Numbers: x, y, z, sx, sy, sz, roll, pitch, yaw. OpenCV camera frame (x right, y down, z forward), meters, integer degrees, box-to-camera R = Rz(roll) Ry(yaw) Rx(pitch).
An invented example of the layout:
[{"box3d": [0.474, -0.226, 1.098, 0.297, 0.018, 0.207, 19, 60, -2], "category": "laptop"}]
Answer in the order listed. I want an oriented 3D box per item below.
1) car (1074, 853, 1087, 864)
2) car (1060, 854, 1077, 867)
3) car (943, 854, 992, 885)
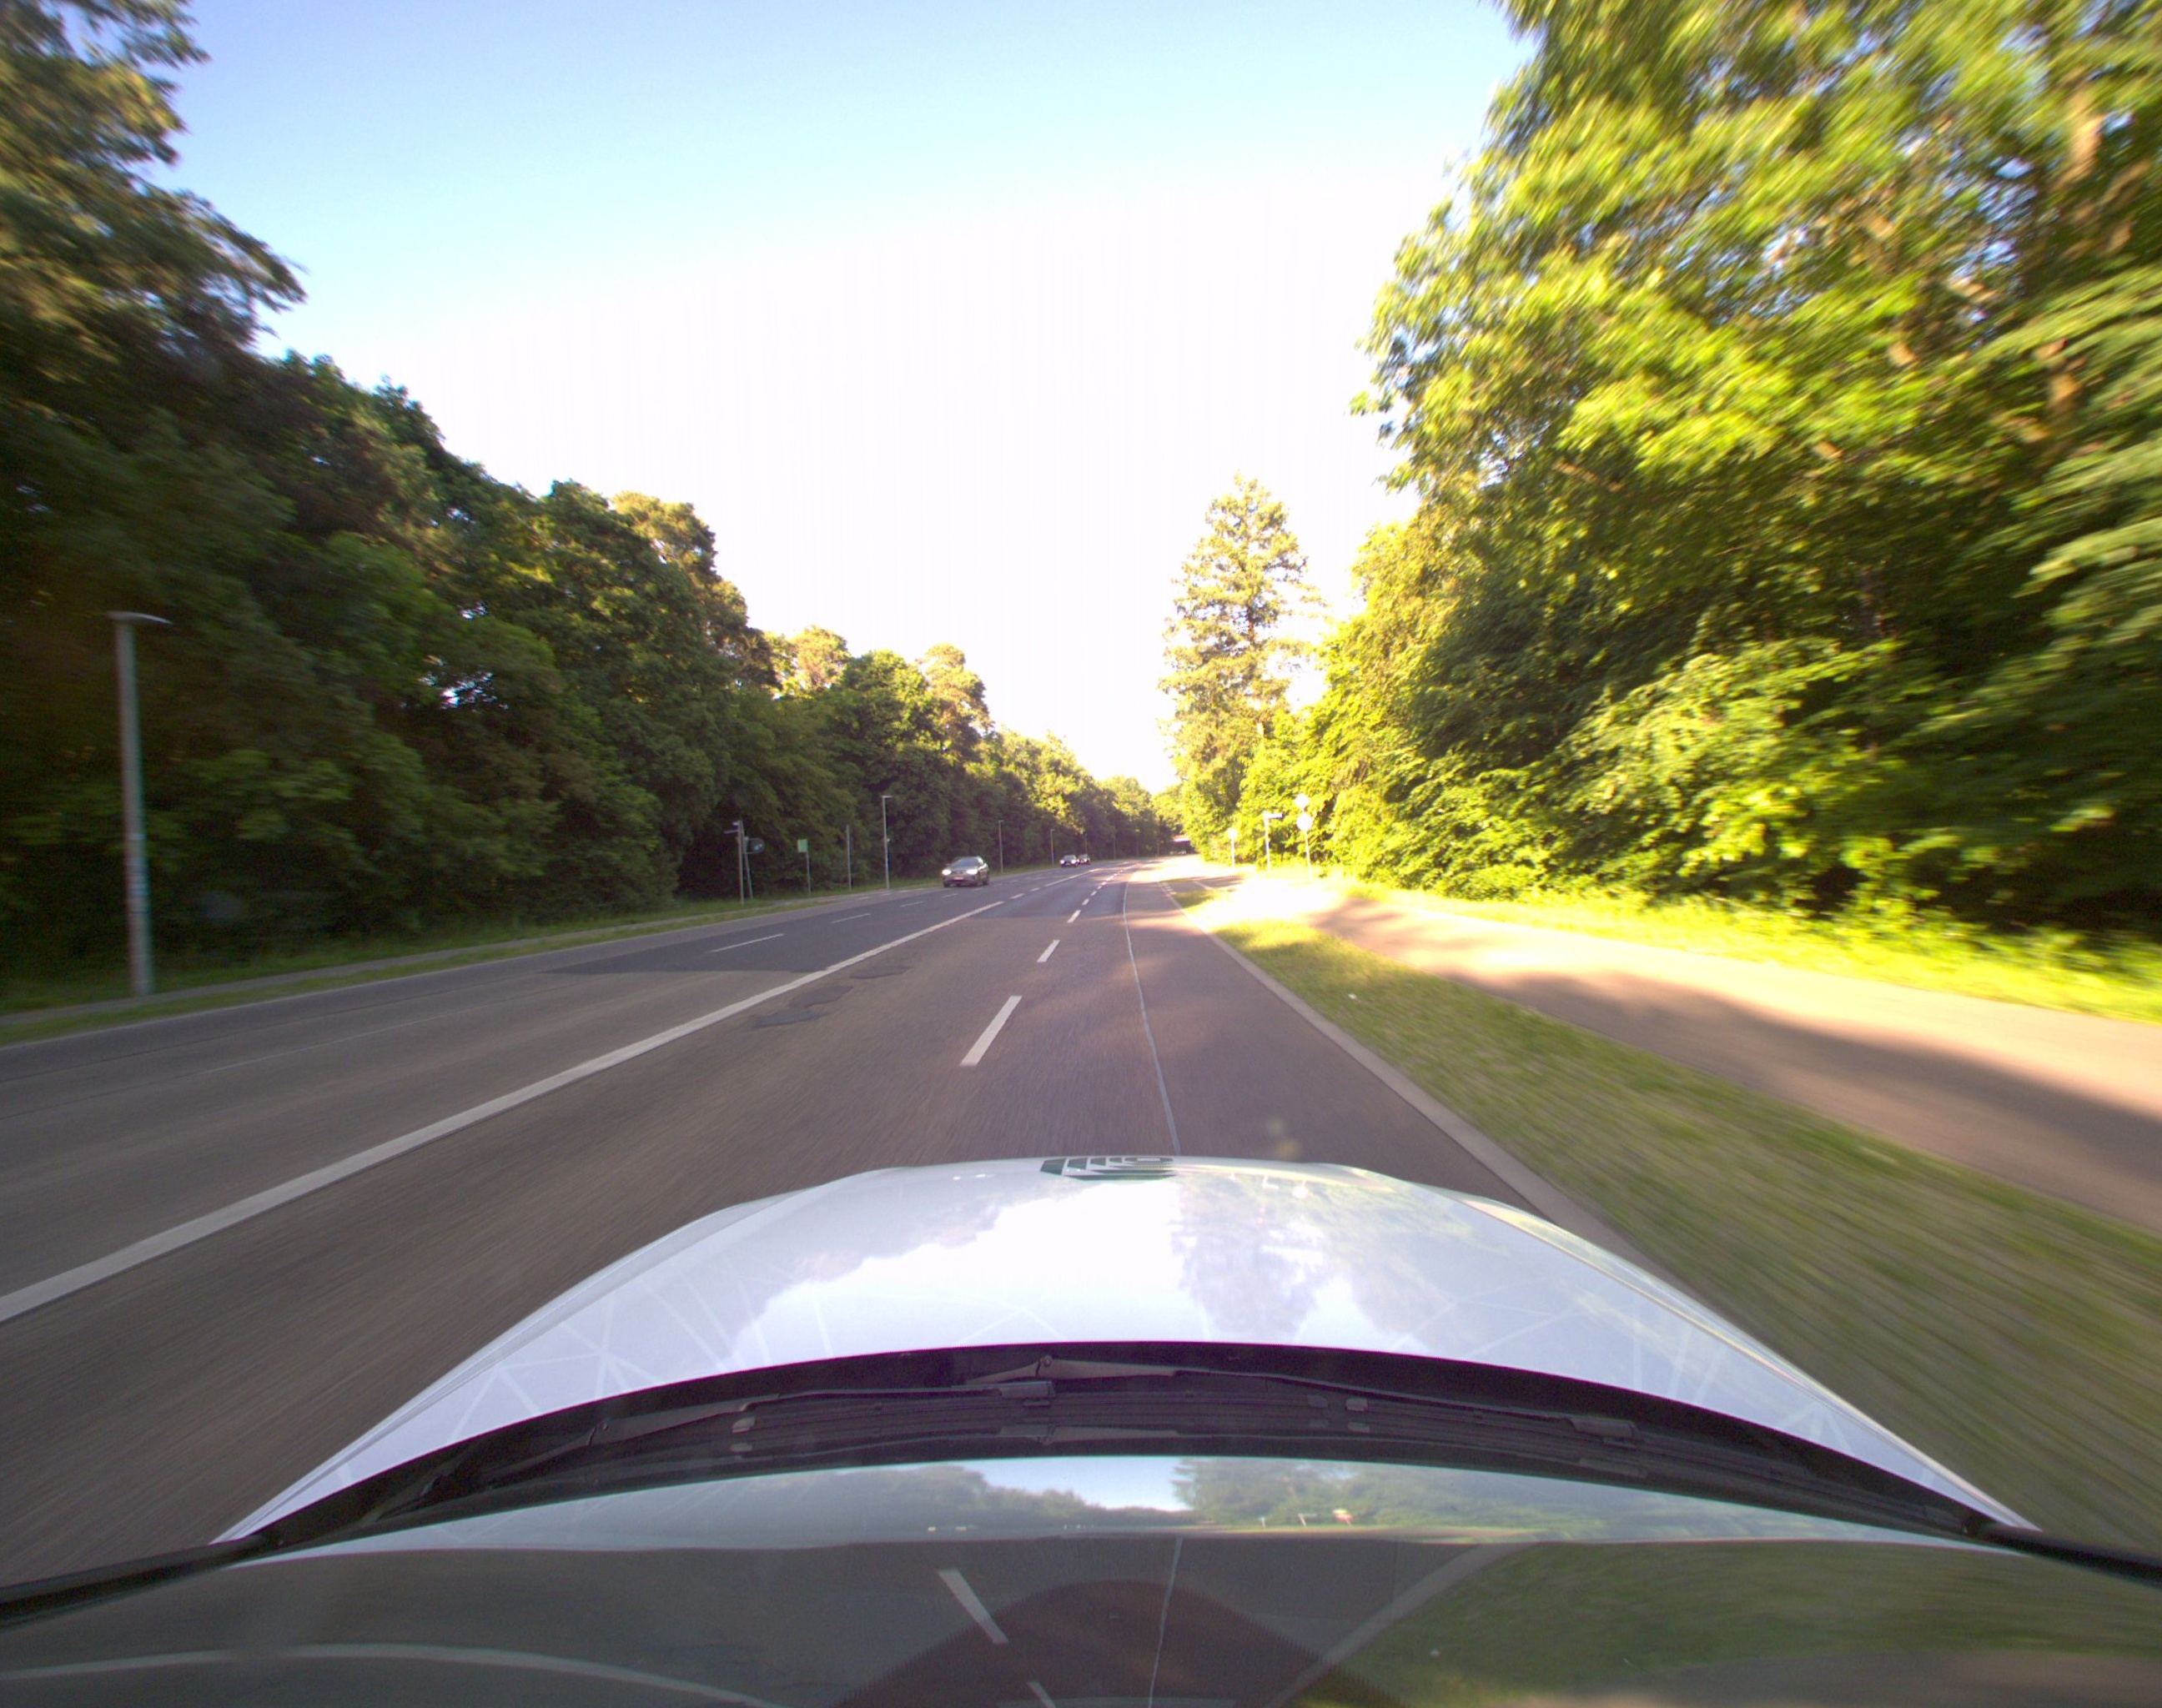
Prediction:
[{"box3d": [0.007, 0.677, 116.445, 1.651, 1.480, 4.175, -1, 0, 2], "category": "car"}, {"box3d": [-1.488, 0.744, 97.801, 1.732, 1.457, 4.001, 0, 0, 2], "category": "car"}, {"box3d": [-6.121, 0.818, 44.519, 1.888, 1.610, 4.452, 0, 0, 2], "category": "car"}]
